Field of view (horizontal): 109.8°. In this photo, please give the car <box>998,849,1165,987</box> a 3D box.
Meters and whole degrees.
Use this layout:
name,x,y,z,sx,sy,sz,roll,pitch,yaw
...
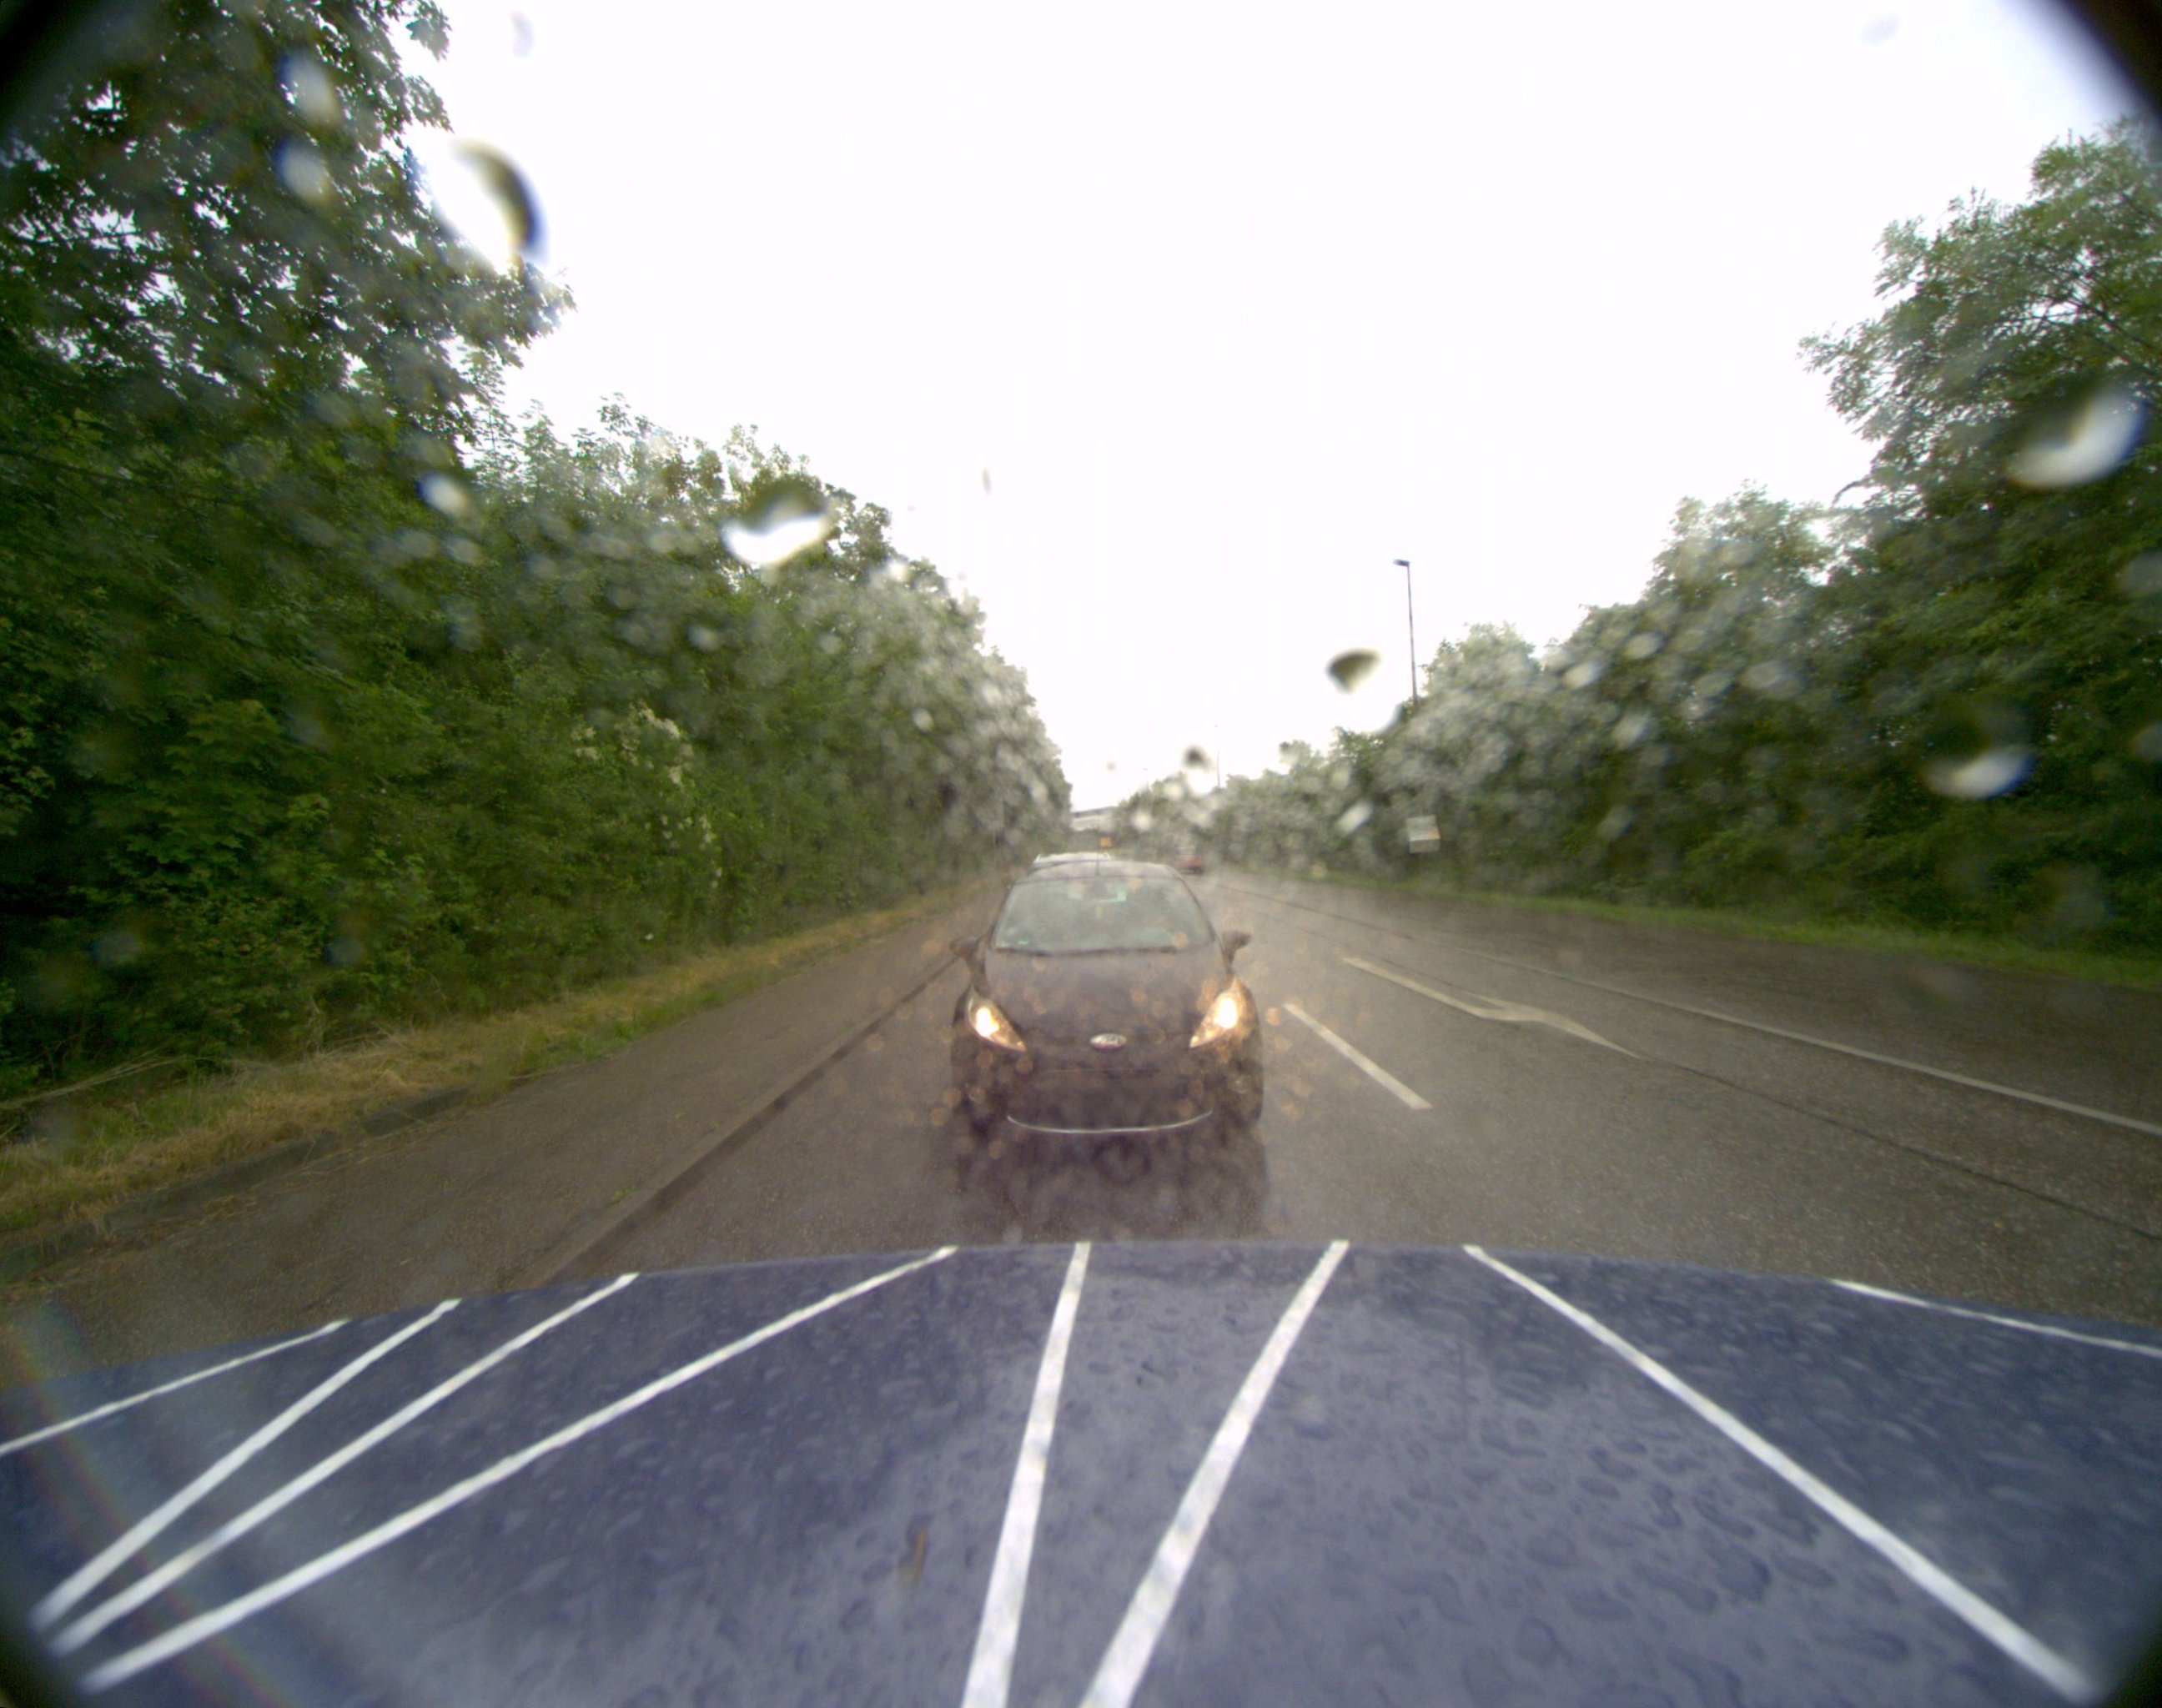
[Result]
name,x,y,z,sx,sy,sz,roll,pitch,yaw
car,0.029,0.773,11.339,1.998,1.576,3.999,-2,1,1

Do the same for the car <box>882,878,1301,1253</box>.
name,x,y,z,sx,sy,sz,roll,pitch,yaw
car,0.076,1.031,5.591,1.839,1.404,4.341,-2,1,1

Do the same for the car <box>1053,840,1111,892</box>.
name,x,y,z,sx,sy,sz,roll,pitch,yaw
car,0.043,0.427,28.926,1.998,1.778,4.000,-2,0,0

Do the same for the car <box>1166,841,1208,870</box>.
name,x,y,z,sx,sy,sz,roll,pitch,yaw
car,6.301,0.062,45.595,1.998,1.576,3.999,-2,1,1
